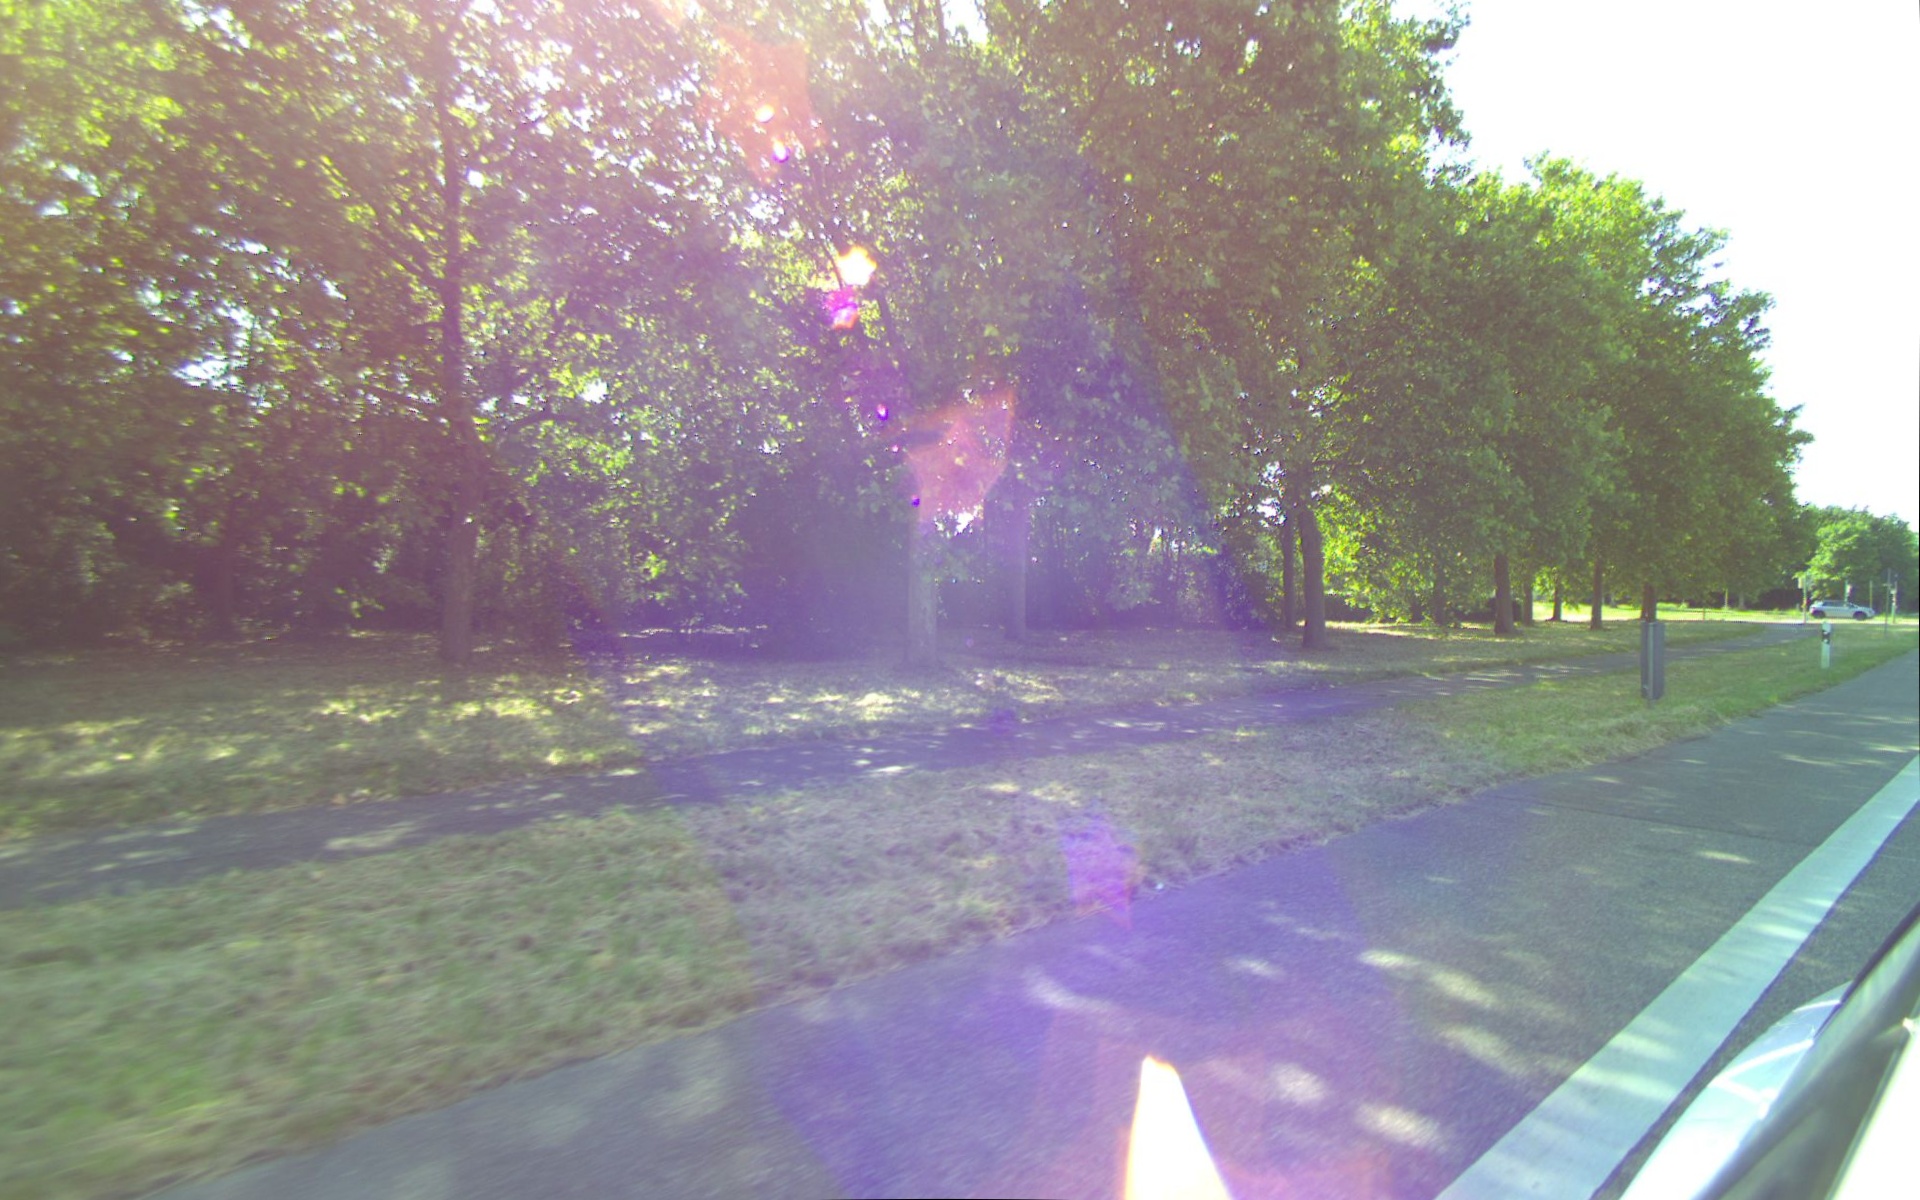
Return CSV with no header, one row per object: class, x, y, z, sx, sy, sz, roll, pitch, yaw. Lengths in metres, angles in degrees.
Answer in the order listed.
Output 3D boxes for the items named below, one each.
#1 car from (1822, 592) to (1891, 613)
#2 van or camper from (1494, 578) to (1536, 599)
car,72.469,0.179,81.852,1.714,1.583,4.056,0,2,-44
van or camper,79.519,-1.599,145.025,4.801,2.867,1.968,3,2,44
